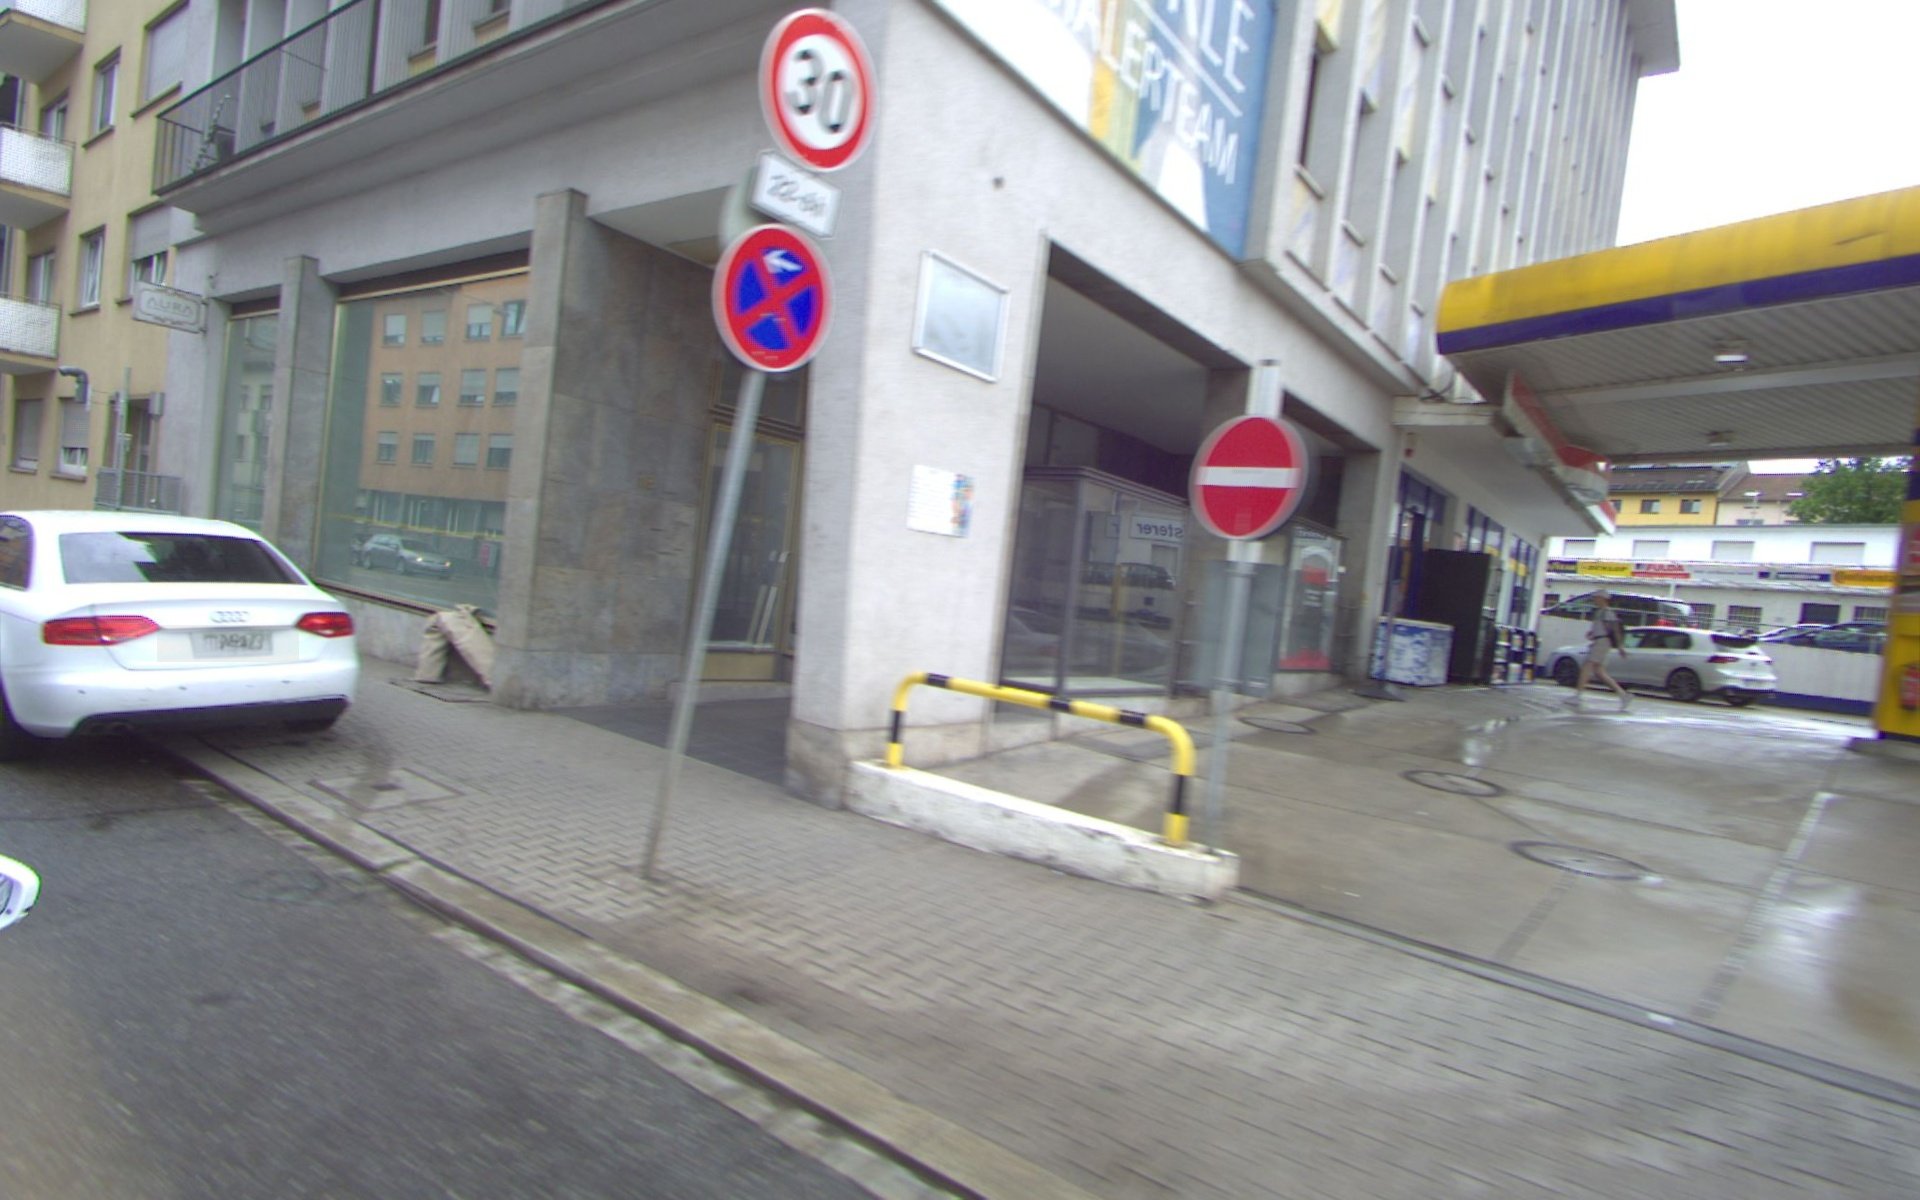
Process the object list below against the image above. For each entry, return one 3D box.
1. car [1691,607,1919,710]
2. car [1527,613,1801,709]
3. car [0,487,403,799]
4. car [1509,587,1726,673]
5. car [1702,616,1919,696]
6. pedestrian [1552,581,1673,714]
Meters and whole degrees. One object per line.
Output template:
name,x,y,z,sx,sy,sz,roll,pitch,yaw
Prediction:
car,20.070,1.336,23.294,1.975,1.888,4.552,7,0,-24
car,14.641,1.202,21.281,1.968,1.535,4.403,4,1,-16
car,-5.977,0.021,7.005,4.535,1.423,1.889,7,6,35
car,18.163,0.767,28.065,1.975,1.888,4.552,7,0,-24
car,23.107,1.475,27.396,1.784,1.496,4.181,8,1,-25
pedestrian,9.709,0.680,15.033,1.268,1.822,0.652,6,3,25
